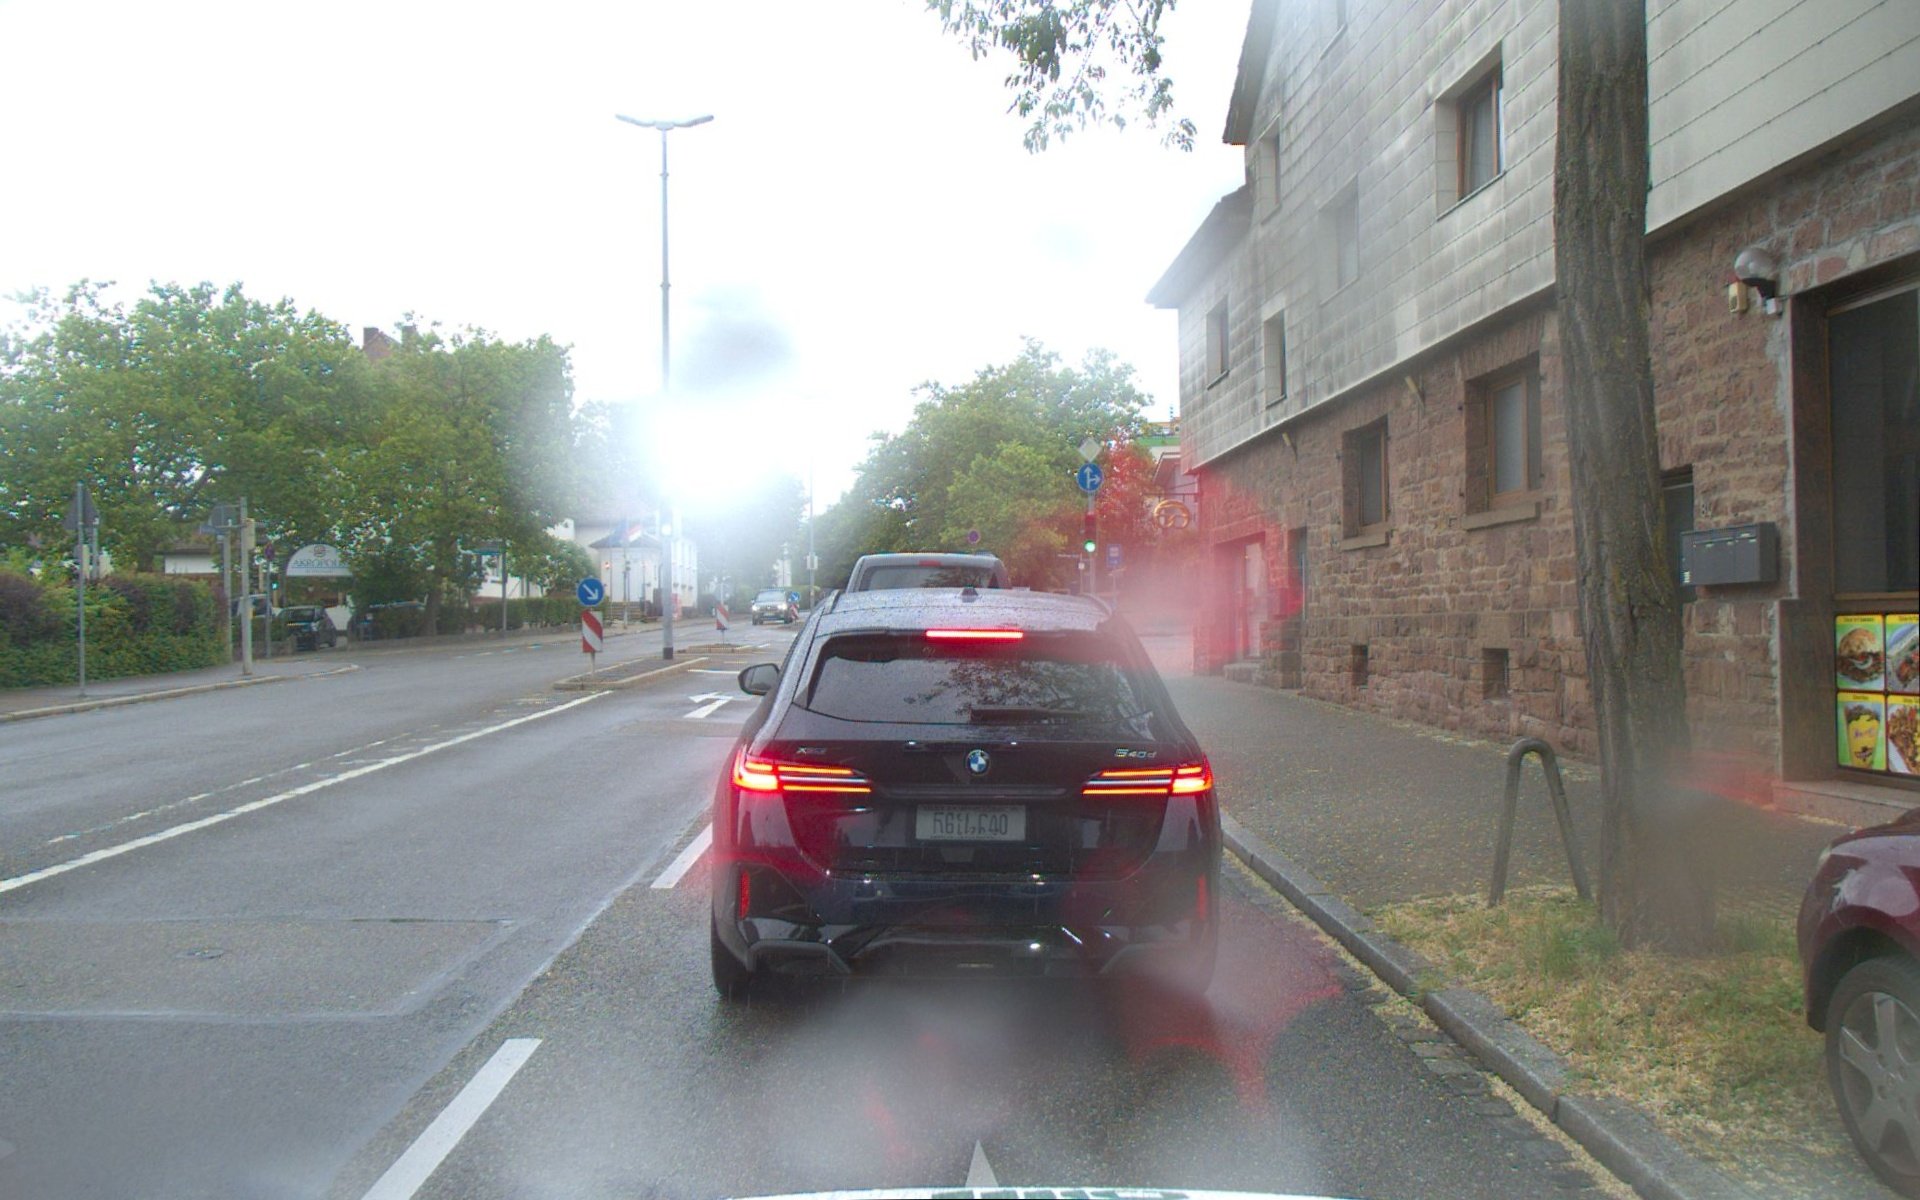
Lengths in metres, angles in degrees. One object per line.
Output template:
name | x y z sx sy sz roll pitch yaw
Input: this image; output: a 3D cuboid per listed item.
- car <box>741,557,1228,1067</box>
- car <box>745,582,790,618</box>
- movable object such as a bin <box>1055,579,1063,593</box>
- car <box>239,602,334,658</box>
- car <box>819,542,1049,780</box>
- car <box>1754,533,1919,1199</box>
car | -0.027 0.670 6.889 1.494 1.561 3.529 1 0 -4
car | -9.179 -0.029 79.201 1.861 1.604 4.499 -1 1 -4
movable object such as a bin | 6.897 -0.987 115.405 0.440 0.921 0.463 1 -1 14
car | -23.133 0.985 56.930 1.772 1.578 4.000 1 4 -3
car | -0.319 0.488 14.840 1.776 1.840 3.753 1 0 -4
car | 3.063 0.587 2.675 1.578 1.530 3.753 1 -2 -4
